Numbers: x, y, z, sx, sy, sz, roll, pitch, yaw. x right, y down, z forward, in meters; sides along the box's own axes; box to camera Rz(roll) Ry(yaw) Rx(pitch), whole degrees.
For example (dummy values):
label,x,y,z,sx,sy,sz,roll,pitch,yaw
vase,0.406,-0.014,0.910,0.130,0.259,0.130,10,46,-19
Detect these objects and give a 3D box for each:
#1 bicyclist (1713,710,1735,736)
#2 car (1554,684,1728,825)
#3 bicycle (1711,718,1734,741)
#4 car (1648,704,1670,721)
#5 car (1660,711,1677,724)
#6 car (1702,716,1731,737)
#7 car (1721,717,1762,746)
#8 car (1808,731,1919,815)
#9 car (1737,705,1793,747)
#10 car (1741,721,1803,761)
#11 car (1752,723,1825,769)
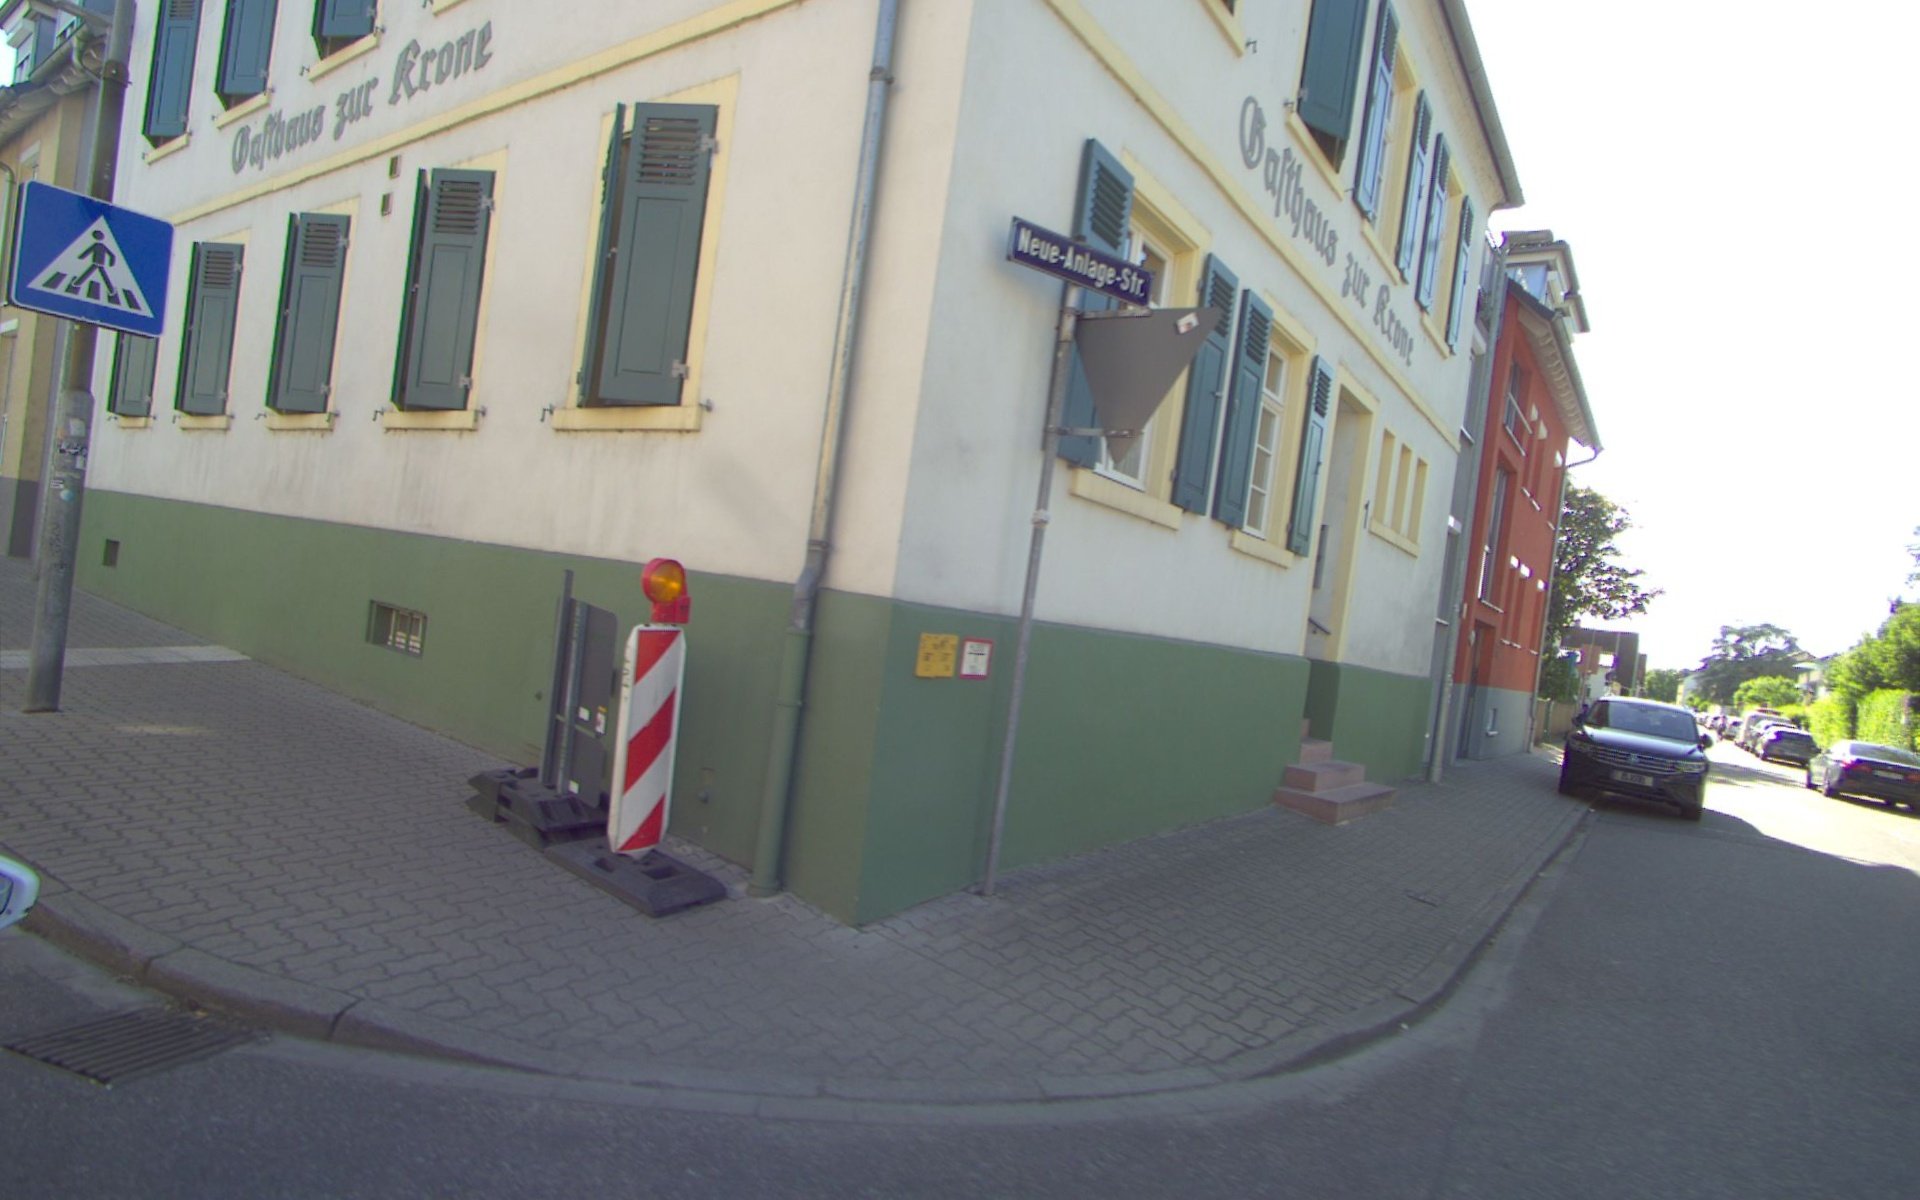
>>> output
label,x,y,z,sx,sy,sz,roll,pitch,yaw
bicyclist,41.466,6.687,54.630,0.711,1.283,0.834,11,2,35
car,10.871,2.339,16.137,1.925,1.704,4.264,6,-1,34
bicycle,41.444,7.026,54.707,0.711,1.063,2.216,11,2,34
car,81.777,13.127,117.667,1.925,1.704,4.264,6,-1,34
car,110.840,18.328,157.409,1.925,1.704,4.264,6,-1,34
car,71.233,11.863,94.734,1.764,1.492,4.124,11,2,34
car,53.627,8.994,69.109,1.764,1.492,4.124,11,2,34
car,22.155,4.145,24.438,1.764,1.492,4.124,9,1,34
car,42.907,6.681,53.712,1.764,1.759,4.124,11,2,34
car,38.189,6.596,47.393,1.764,1.374,4.124,9,1,34
car,34.074,5.971,41.456,1.764,1.374,4.124,9,1,34
